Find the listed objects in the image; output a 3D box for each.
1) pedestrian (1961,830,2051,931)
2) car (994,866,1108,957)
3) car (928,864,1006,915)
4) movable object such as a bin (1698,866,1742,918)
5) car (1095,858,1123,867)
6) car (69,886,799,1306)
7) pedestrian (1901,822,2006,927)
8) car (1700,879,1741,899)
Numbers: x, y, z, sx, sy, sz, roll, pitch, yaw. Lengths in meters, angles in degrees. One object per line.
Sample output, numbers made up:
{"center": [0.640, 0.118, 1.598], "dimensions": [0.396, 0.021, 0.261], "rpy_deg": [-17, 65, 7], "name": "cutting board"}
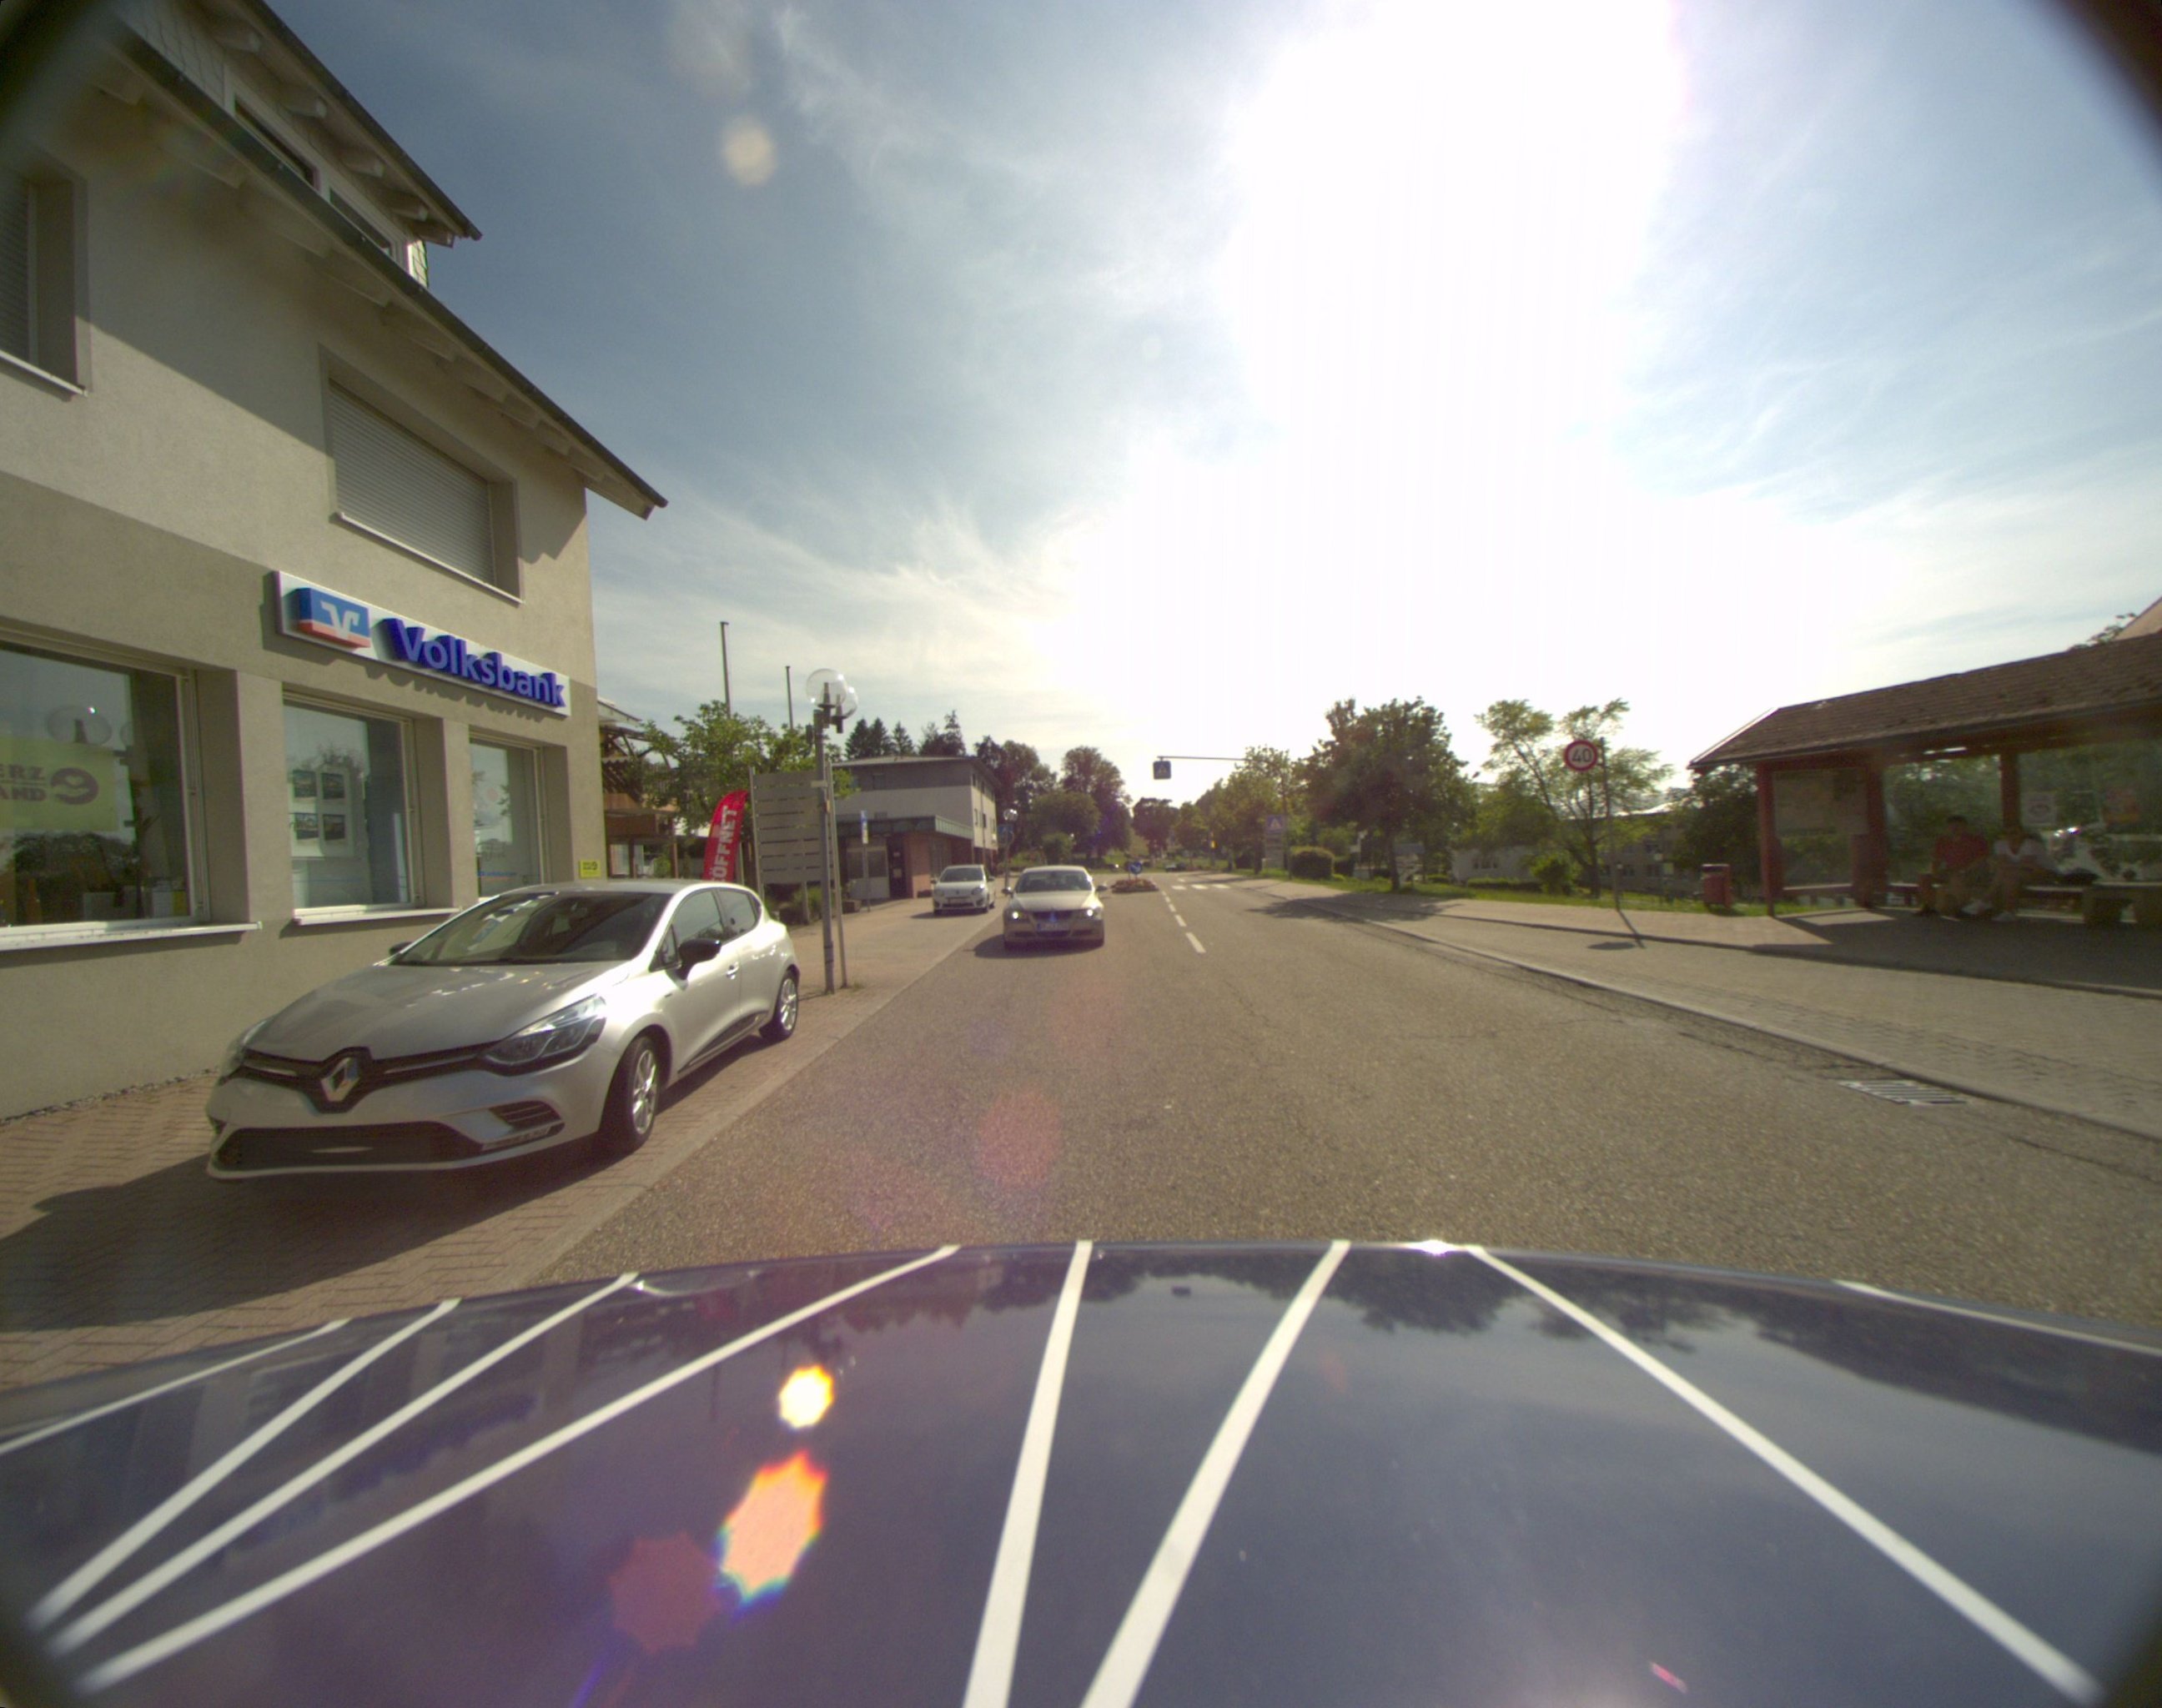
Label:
{"center": [11.684, 0.328, 9.610], "dimensions": [0.631, 1.246, 0.423], "rpy_deg": [0, 1, -3], "name": "pedestrian"}
{"center": [-0.506, 0.981, 14.696], "dimensions": [1.839, 1.360, 4.581], "rpy_deg": [-1, 0, 0], "name": "car"}
{"center": [-3.478, 1.062, 23.791], "dimensions": [1.764, 1.415, 3.634], "rpy_deg": [-1, 0, 2], "name": "car"}
{"center": [10.564, 0.621, 12.577], "dimensions": [0.305, 0.832, 0.485], "rpy_deg": [-1, 1, -3], "name": "movable object such as a bin"}
{"center": [4.508, 1.346, 122.374], "dimensions": [4.255, 1.420, 1.706], "rpy_deg": [-1, 0, 34], "name": "car"}
{"center": [-3.237, 1.014, 4.956], "dimensions": [1.640, 1.411, 3.933], "rpy_deg": [-1, 0, -6], "name": "car"}
{"center": [11.657, 0.269, 10.169], "dimensions": [0.619, 1.356, 0.674], "rpy_deg": [0, -1, -2], "name": "pedestrian"}
{"center": [55.579, 3.033, 66.098], "dimensions": [1.566, 1.630, 2.975], "rpy_deg": [-1, -1, 13], "name": "car"}
